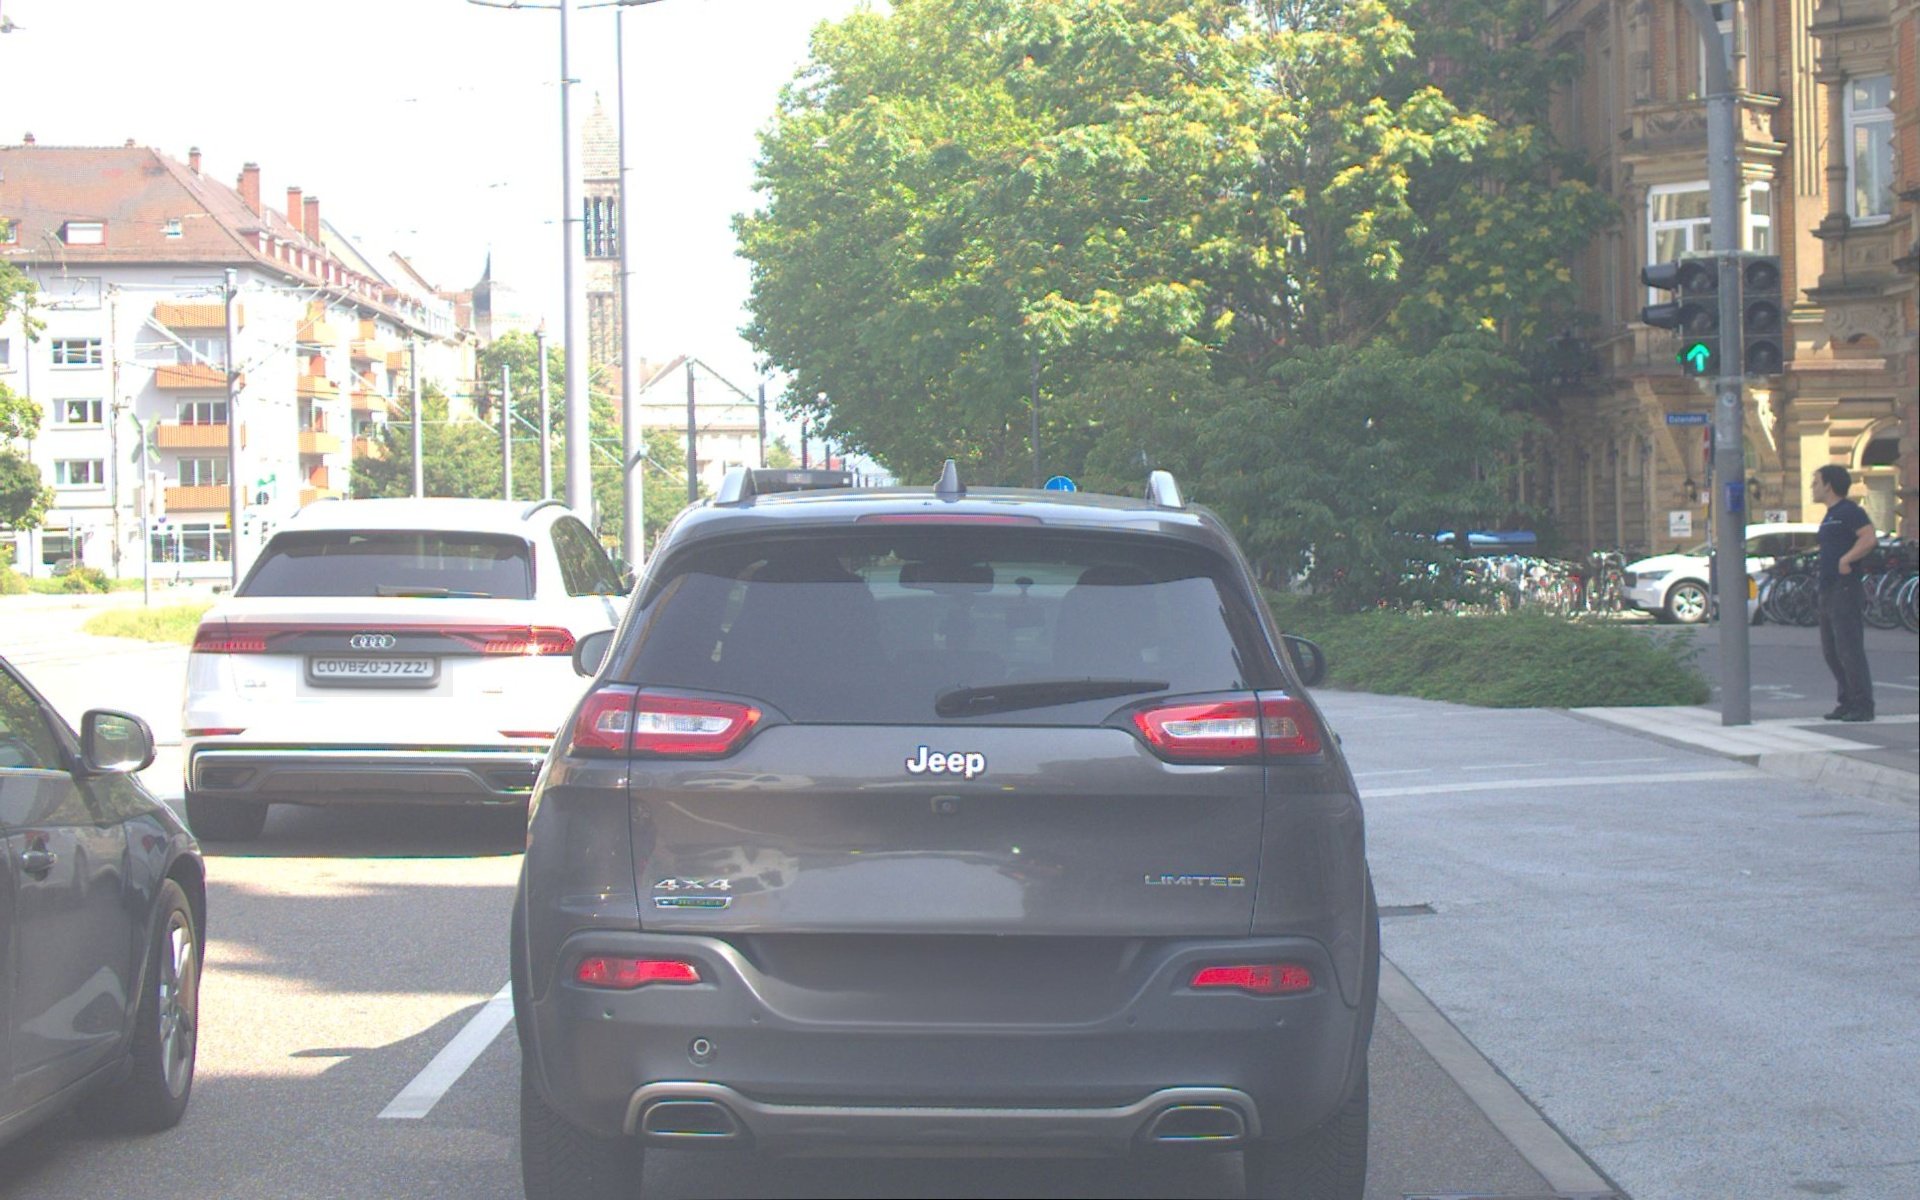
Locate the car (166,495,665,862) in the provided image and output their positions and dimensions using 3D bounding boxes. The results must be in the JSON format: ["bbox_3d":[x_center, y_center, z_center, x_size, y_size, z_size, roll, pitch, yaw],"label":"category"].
[{"bbox_3d":[-2.631,0.303,17.601,1.902,1.646,4.309,0,1,0],"label":"car"}]

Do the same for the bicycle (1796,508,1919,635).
[{"bbox_3d":[10.861,-0.342,38.007,2.993,1.366,0.871,-1,1,-1],"label":"bicycle"}]

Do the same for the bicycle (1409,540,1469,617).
[{"bbox_3d":[8.134,-0.382,58.484,0.649,1.249,3.014,-1,1,2],"label":"bicycle"}]

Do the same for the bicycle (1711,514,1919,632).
[{"bbox_3d":[10.733,-0.341,41.718,3.003,1.368,0.947,-1,1,-1],"label":"bicycle"}]

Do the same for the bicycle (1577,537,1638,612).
[{"bbox_3d":[11.084,-0.448,58.906,0.658,1.245,2.412,-1,1,2],"label":"bicycle"}]

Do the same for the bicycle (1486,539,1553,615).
[{"bbox_3d":[9.495,-0.409,58.458,0.732,1.249,3.014,-1,1,2],"label":"bicycle"}]

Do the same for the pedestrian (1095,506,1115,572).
[{"bbox_3d":[4.463,-1.879,105.657,0.528,2.007,0.532,-1,1,-2],"label":"pedestrian"}]

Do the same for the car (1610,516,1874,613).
[{"bbox_3d":[13.051,-0.605,57.487,3.931,1.515,1.683,-1,1,-7],"label":"car"}]

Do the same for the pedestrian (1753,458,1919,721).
[{"bbox_3d":[6.039,-0.075,23.413,0.766,1.735,0.901,-3,1,-35],"label":"pedestrian"}]

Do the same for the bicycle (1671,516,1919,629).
[{"bbox_3d":[10.682,-0.359,43.824,3.003,1.368,0.947,-1,1,-1],"label":"bicycle"}]

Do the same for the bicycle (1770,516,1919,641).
[{"bbox_3d":[10.780,-0.264,38.915,2.993,1.366,0.871,-1,1,-1],"label":"bicycle"}]

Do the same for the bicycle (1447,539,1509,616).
[{"bbox_3d":[8.796,-0.397,58.459,0.649,1.249,3.014,-1,1,2],"label":"bicycle"}]

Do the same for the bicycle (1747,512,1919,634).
[{"bbox_3d":[10.730,-0.331,39.827,2.993,1.366,0.871,-1,1,-1],"label":"bicycle"}]

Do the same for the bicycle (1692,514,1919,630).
[{"bbox_3d":[10.733,-0.358,42.813,3.003,1.368,0.947,-1,1,-1],"label":"bicycle"}]

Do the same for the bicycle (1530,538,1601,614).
[{"bbox_3d":[10.285,-0.424,58.472,0.763,1.249,3.014,-1,1,2],"label":"bicycle"}]

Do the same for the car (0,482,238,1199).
[{"bbox_3d":[-2.804,0.557,7.106,1.747,1.609,4.309,0,1,0],"label":"car"}]

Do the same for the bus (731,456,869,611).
[{"bbox_3d":[-3.424,-1.442,75.497,2.743,3.096,11.957,1,1,-2],"label":"bus"}]

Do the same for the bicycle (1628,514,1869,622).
[{"bbox_3d":[10.577,-0.432,46.182,3.003,1.368,0.947,-1,1,-1],"label":"bicycle"}]

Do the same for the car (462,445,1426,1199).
[{"bbox_3d":[-0.012,0.489,8.733,1.832,1.646,4.308,0,1,1],"label":"car"}]

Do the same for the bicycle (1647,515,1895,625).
[{"bbox_3d":[10.630,-0.397,45.140,3.003,1.368,0.947,-1,1,-1],"label":"bicycle"}]

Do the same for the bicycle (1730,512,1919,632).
[{"bbox_3d":[10.743,-0.347,40.774,2.993,1.366,0.871,-1,1,-1],"label":"bicycle"}]
